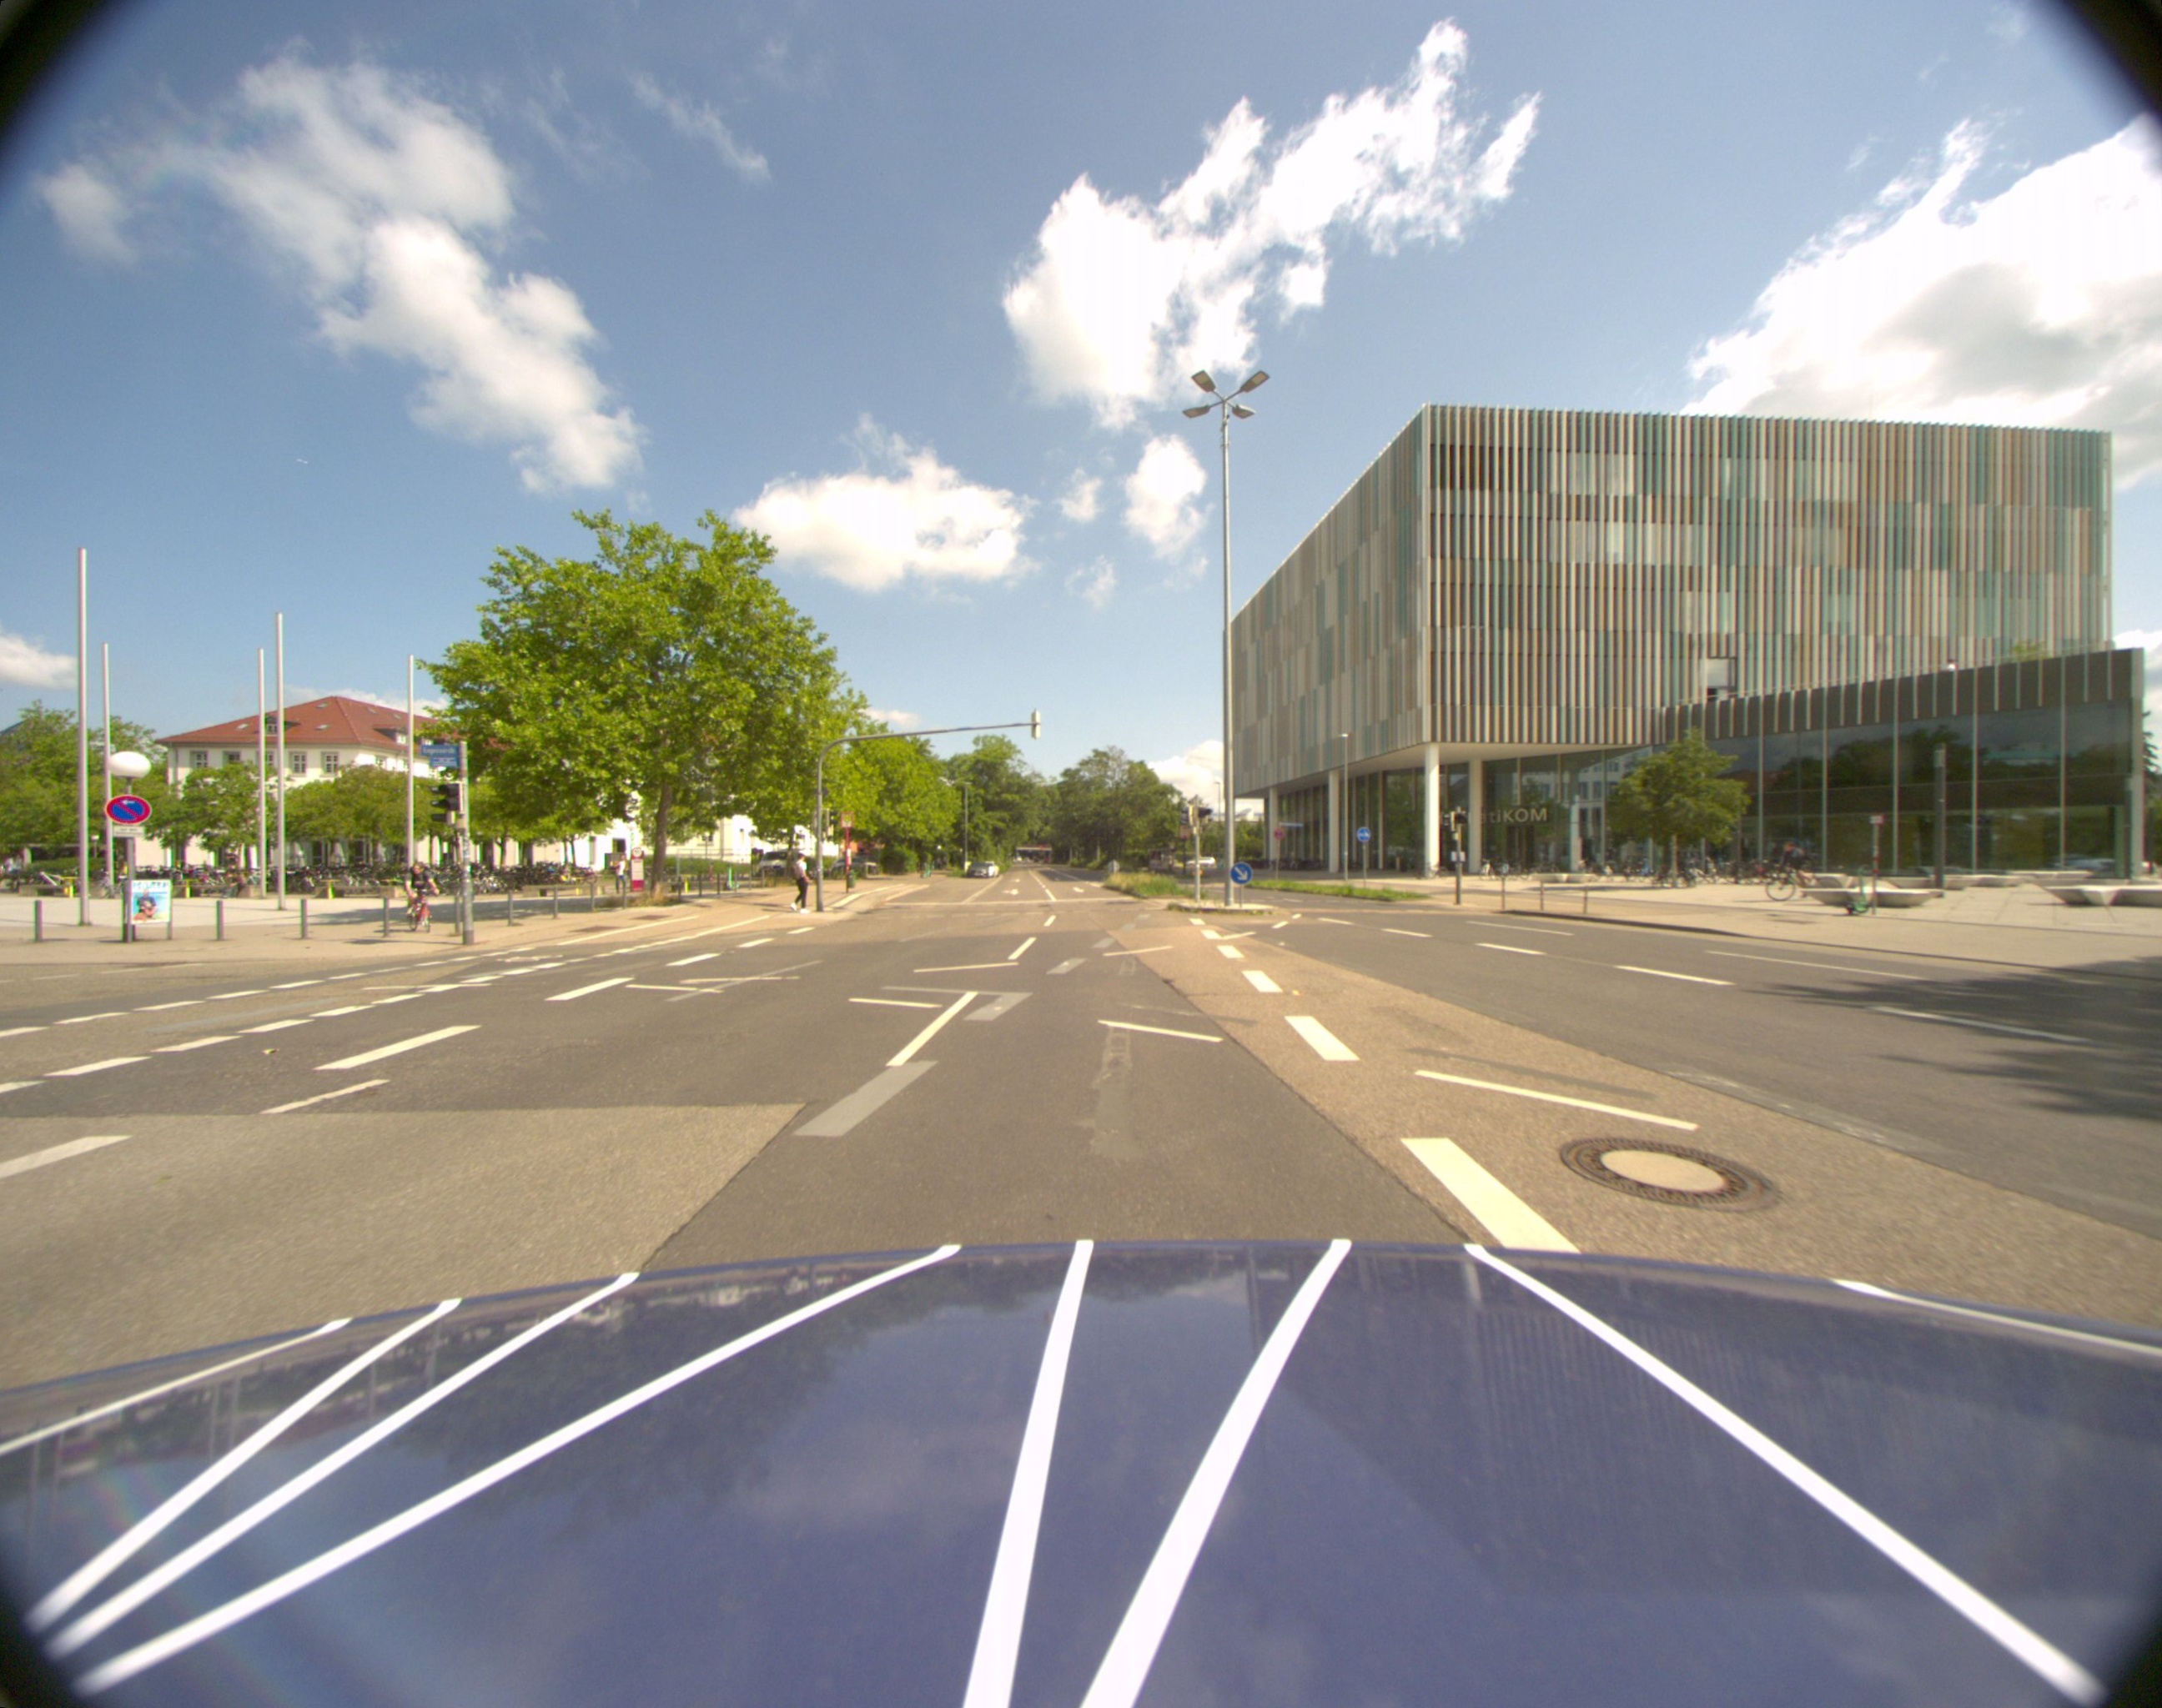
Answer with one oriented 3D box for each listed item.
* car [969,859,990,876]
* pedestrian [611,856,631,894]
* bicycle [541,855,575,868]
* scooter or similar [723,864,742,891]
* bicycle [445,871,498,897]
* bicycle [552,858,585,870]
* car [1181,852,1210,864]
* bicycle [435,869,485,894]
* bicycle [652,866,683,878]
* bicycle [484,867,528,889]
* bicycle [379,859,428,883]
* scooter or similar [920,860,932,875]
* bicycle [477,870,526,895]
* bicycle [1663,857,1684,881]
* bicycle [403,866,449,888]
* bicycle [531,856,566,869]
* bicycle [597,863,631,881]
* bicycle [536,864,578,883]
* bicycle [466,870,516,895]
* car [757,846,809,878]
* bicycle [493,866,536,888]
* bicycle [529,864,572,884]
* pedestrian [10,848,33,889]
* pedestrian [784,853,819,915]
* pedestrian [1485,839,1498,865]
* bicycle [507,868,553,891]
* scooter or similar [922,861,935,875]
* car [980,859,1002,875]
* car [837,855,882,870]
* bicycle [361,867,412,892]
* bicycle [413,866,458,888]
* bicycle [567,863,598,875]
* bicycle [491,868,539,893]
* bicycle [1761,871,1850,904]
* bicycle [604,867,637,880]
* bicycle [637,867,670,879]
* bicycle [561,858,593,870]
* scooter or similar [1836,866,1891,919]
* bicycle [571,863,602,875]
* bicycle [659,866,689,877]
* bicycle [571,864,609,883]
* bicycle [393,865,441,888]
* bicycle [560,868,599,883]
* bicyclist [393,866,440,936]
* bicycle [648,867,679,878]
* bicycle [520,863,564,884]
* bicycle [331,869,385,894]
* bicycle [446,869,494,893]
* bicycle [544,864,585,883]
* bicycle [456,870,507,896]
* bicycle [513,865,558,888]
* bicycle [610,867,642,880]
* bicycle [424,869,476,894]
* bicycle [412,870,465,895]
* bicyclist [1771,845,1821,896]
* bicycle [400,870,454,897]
[{"bbox_3d":[-8.604,1.124,64.692,1.709,1.321,3.997,2,0,-6],"label":"car"},{"bbox_3d":[-20.170,0.891,33.313,0.640,1.640,0.740,-1,1,-40],"label":"pedestrian"},{"bbox_3d":[-33.343,0.461,48.446,1.673,0.785,0.626,0,0,-9],"label":"bicycle"},{"bbox_3d":[-15.207,1.027,33.172,0.348,1.122,1.167,0,0,-2],"label":"scooter or similar"},{"bbox_3d":[-26.192,1.293,32.688,1.673,1.090,0.626,0,1,-9],"label":"bicycle"},{"bbox_3d":[-33.413,0.661,49.550,1.673,0.785,0.626,0,0,-9],"label":"bicycle"},{"bbox_3d":[16.835,0.562,111.732,3.998,1.676,1.646,0,0,-2],"label":"car"},{"bbox_3d":[-28.466,1.249,34.842,1.673,1.090,0.626,0,1,-9],"label":"bicycle"},{"bbox_3d":[-27.492,1.182,50.542,1.673,0.729,0.626,0,0,-9],"label":"bicycle"},{"bbox_3d":[-29.285,1.216,38.724,1.673,1.090,0.626,0,1,-9],"label":"bicycle"},{"bbox_3d":[-32.444,0.806,36.397,1.673,1.090,0.626,0,1,-9],"label":"bicycle"},{"bbox_3d":[-11.890,1.019,58.325,0.518,1.071,1.441,0,0,5],"label":"scooter or similar"},{"bbox_3d":[-26.480,1.294,34.745,1.673,1.090,0.626,0,1,-9],"label":"bicycle"},{"bbox_3d":[28.568,0.712,36.671,0.745,1.131,2.323,0,0,36],"label":"bicycle"},{"bbox_3d":[-32.755,1.139,38.008,1.673,1.090,0.626,0,1,-9],"label":"bicycle"},{"bbox_3d":[-33.392,0.550,47.694,1.673,0.785,0.626,0,0,-9],"label":"bicycle"},{"bbox_3d":[-28.876,1.106,46.987,1.673,1.090,0.626,0,1,-9],"label":"bicycle"},{"bbox_3d":[-27.226,1.027,39.485,1.673,0.966,0.626,0,0,-9],"label":"bicycle"},{"bbox_3d":[-26.362,1.280,33.974,1.673,1.090,0.626,0,1,-9],"label":"bicycle"},{"bbox_3d":[-19.507,0.509,49.904,2.000,2.002,4.899,0,0,-7],"label":"car"},{"bbox_3d":[-29.373,1.191,39.419,1.673,1.090,0.626,0,1,-9],"label":"bicycle"},{"bbox_3d":[-27.121,1.012,38.841,1.673,0.979,0.626,0,0,-9],"label":"bicycle"},{"bbox_3d":[-47.875,0.643,34.336,0.532,1.836,0.515,0,1,28],"label":"pedestrian"},{"bbox_3d":[-8.498,0.896,23.109,0.701,1.815,0.942,2,1,-3],"label":"pedestrian"},{"bbox_3d":[29.511,-0.171,54.632,0.764,1.860,0.649,0,1,31],"label":"pedestrian"},{"bbox_3d":[-26.530,1.211,36.617,1.673,1.090,0.626,0,1,-9],"label":"bicycle"},{"bbox_3d":[-12.202,1.124,60.762,0.518,1.065,1.371,0,0,12],"label":"scooter or similar"},{"bbox_3d":[-8.339,1.163,70.377,1.560,1.335,4.000,2,0,-1],"label":"car"},{"bbox_3d":[-21.090,0.778,72.446,4.001,1.416,1.755,0,0,-12],"label":"car"},{"bbox_3d":[-32.549,1.186,35.608,1.673,1.090,0.626,0,1,-9],"label":"bicycle"},{"bbox_3d":[-32.849,1.155,38.674,1.673,1.090,0.626,0,1,-9],"label":"bicycle"},{"bbox_3d":[-33.805,1.032,51.529,1.673,0.785,0.626,0,0,-9],"label":"bicycle"},{"bbox_3d":[-26.476,1.236,35.547,1.673,1.090,0.626,0,1,-9],"label":"bicycle"},{"bbox_3d":[20.891,0.952,21.960,1.771,0.887,0.639,0,0,31],"label":"bicycle"},{"bbox_3d":[-29.315,1.239,48.353,1.673,0.785,0.626,0,0,-10],"label":"bicycle"},{"bbox_3d":[-27.326,1.224,48.582,1.673,0.729,0.626,0,0,-9],"label":"bicycle"},{"bbox_3d":[-33.610,0.672,50.666,1.673,0.785,0.626,0,0,-9],"label":"bicycle"},{"bbox_3d":[18.241,0.880,17.713,1.505,1.150,0.502,-1,1,-28],"label":"scooter or similar"},{"bbox_3d":[-33.951,1.003,52.215,1.673,0.785,0.626,0,0,-9],"label":"bicycle"},{"bbox_3d":[-27.446,1.191,51.257,1.673,0.729,0.626,0,0,-9],"label":"bicycle"},{"bbox_3d":[-27.550,1.067,42.626,1.673,1.022,0.626,0,0,-9],"label":"bicycle"},{"bbox_3d":[-32.571,1.095,37.264,1.673,1.090,0.626,0,1,-9],"label":"bicycle"},{"bbox_3d":[-27.452,1.186,41.625,1.673,0.785,0.626,0,0,-9],"label":"bicycle"},{"bbox_3d":[-14.814,1.026,16.930,0.916,1.498,0.614,0,1,39],"label":"bicyclist"},{"bbox_3d":[-27.316,1.199,49.755,1.673,0.729,0.626,0,0,-9],"label":"bicycle"},{"bbox_3d":[-27.080,0.984,38.180,1.673,1.029,0.626,0,0,-9],"label":"bicycle"},{"bbox_3d":[-32.445,1.216,34.104,1.673,1.090,0.626,0,1,-9],"label":"bicycle"},{"bbox_3d":[-28.585,1.249,35.568,1.673,1.090,0.626,0,1,-9],"label":"bicycle"},{"bbox_3d":[-27.327,1.026,40.202,1.673,0.960,0.626,0,0,-9],"label":"bicycle"},{"bbox_3d":[-26.285,1.253,33.326,1.673,1.090,0.626,0,1,-9],"label":"bicycle"},{"bbox_3d":[-26.735,1.105,37.272,1.673,1.090,0.626,0,1,-9],"label":"bicycle"},{"bbox_3d":[-29.407,1.236,49.105,1.673,0.785,0.626,0,0,-10],"label":"bicycle"},{"bbox_3d":[-28.379,1.233,34.190,1.673,1.090,0.626,0,1,-9],"label":"bicycle"},{"bbox_3d":[-28.287,1.251,33.454,1.673,1.090,0.626,0,1,-9],"label":"bicycle"},{"bbox_3d":[20.732,0.475,22.044,0.944,1.456,0.633,0,1,31],"label":"bicyclist"},{"bbox_3d":[-28.190,1.261,32.751,1.673,1.090,0.626,0,1,-9],"label":"bicycle"}]
